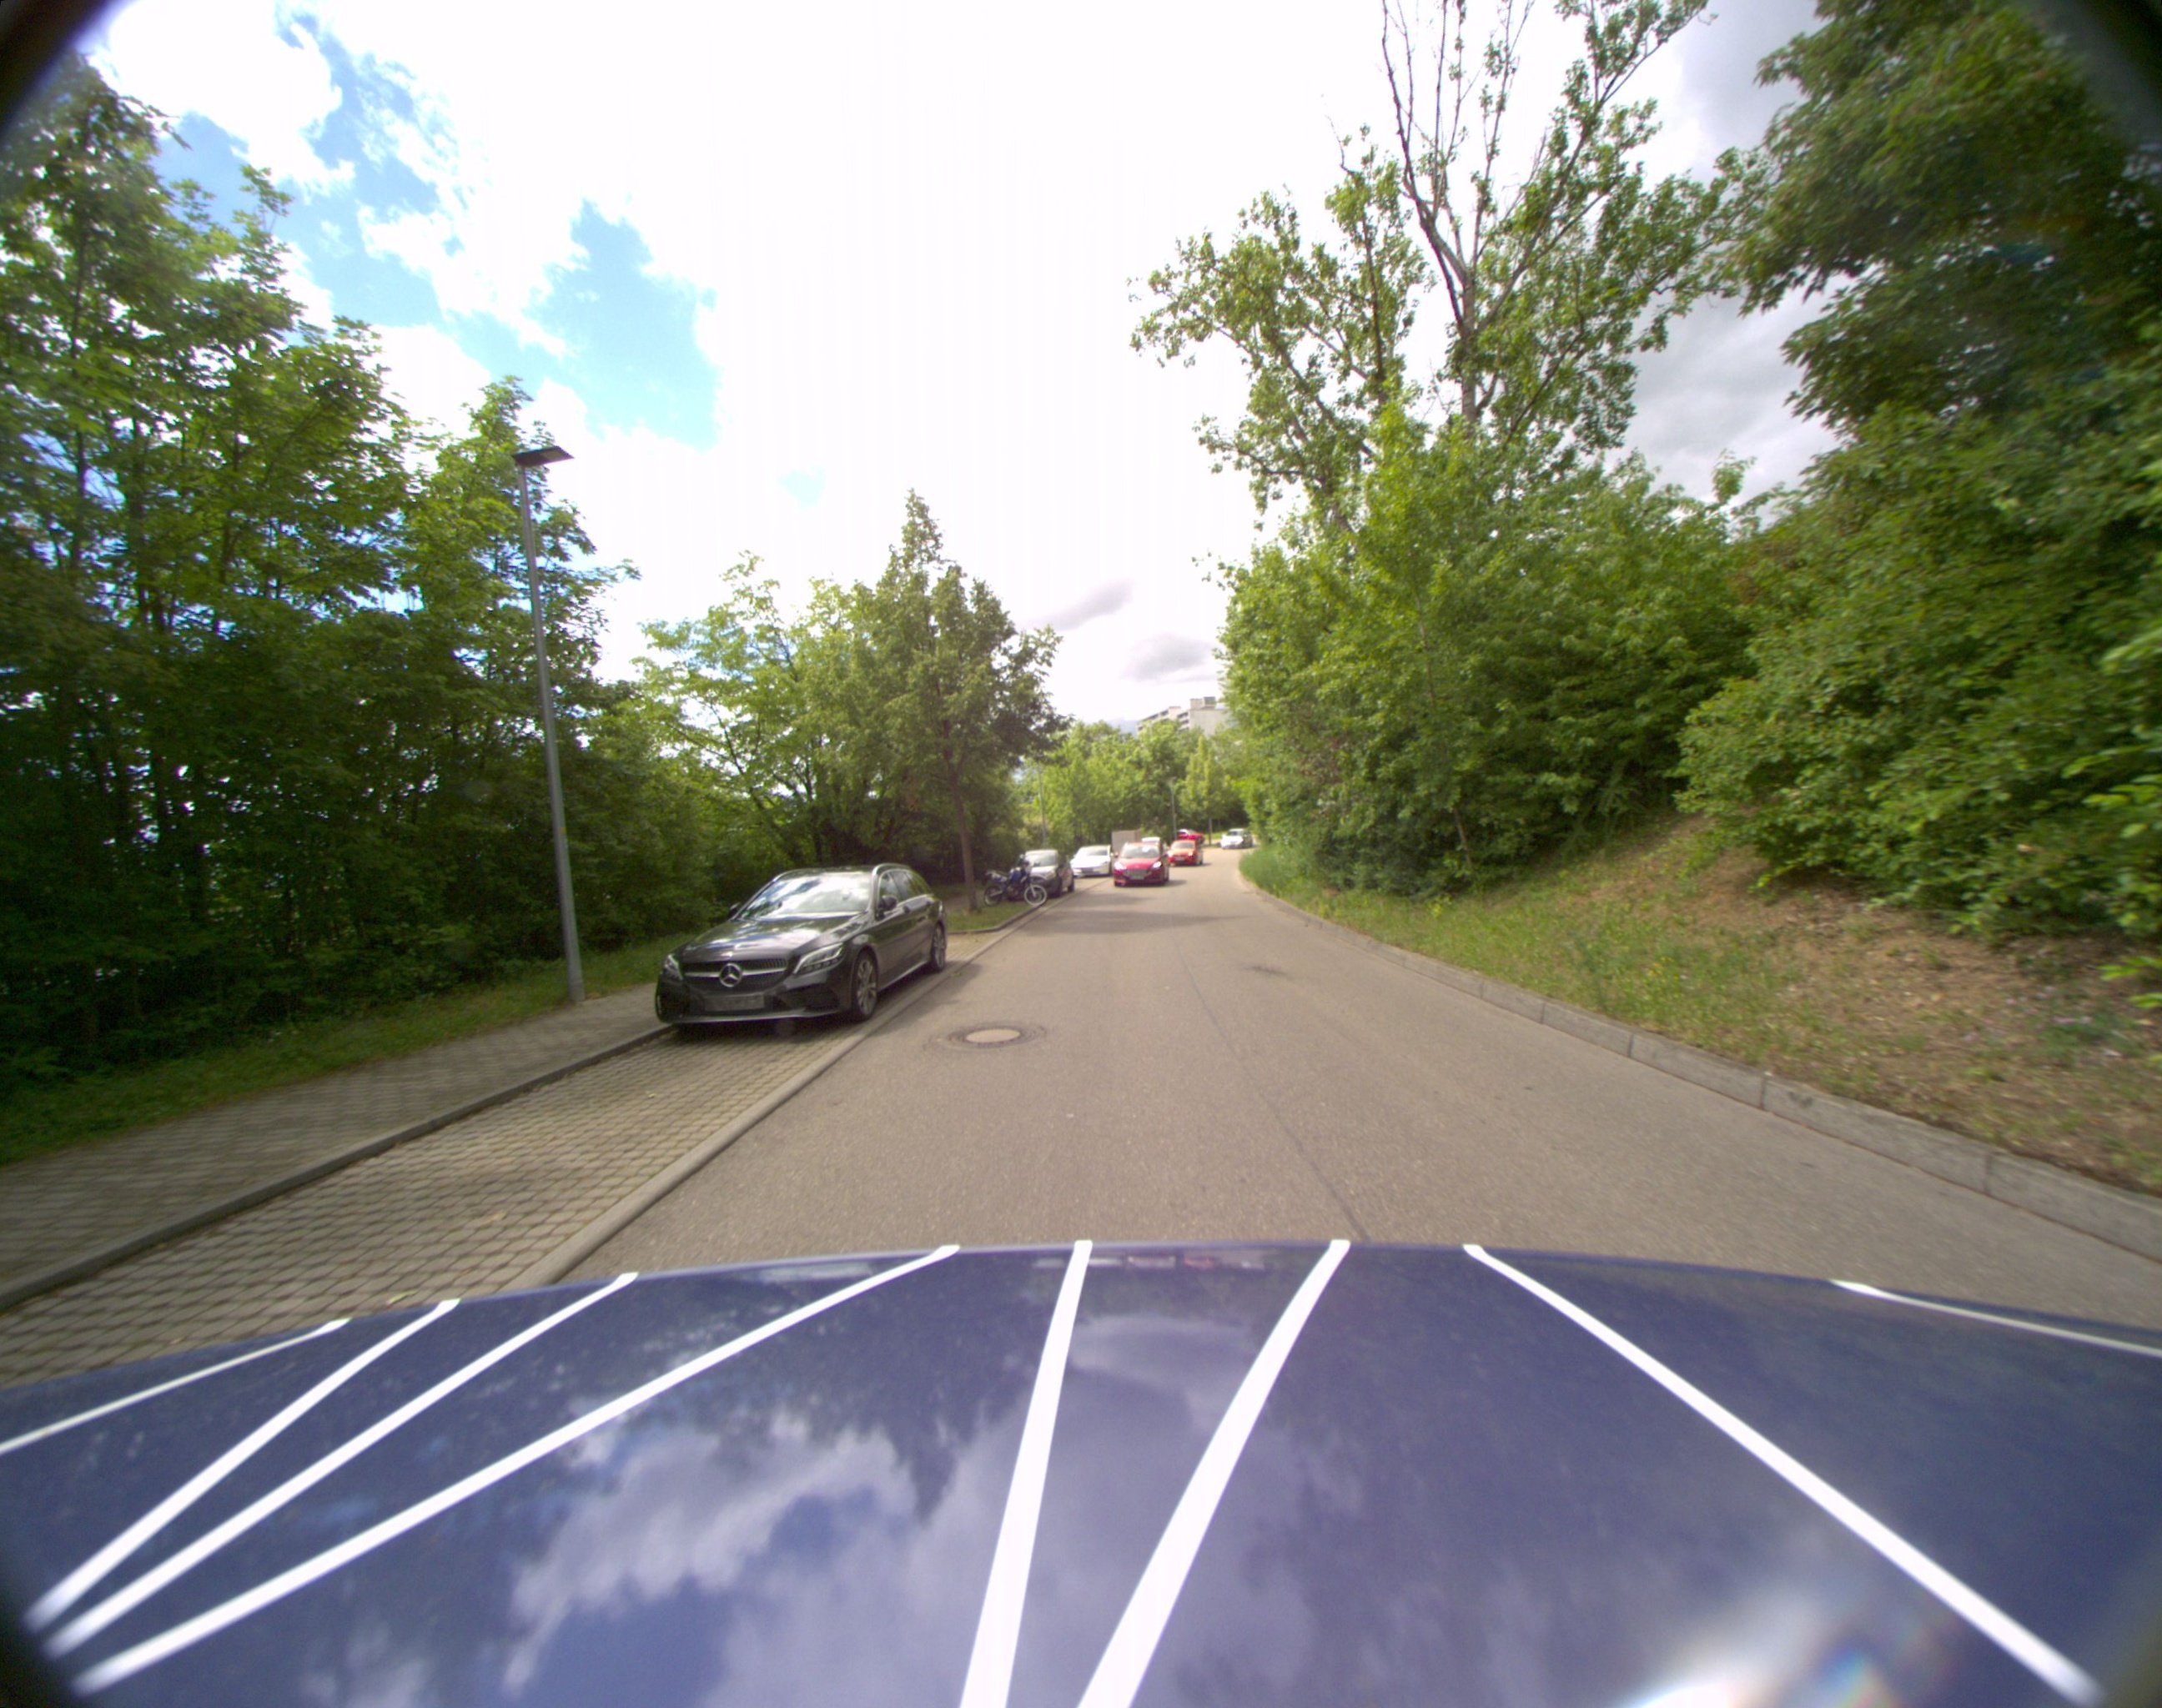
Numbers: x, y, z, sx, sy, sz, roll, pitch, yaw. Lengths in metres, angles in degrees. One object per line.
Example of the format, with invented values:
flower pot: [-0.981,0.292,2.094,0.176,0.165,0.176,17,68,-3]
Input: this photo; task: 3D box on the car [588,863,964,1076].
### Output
car: [-2.782,0.953,8.295,1.897,1.521,4.547,-4,0,4]

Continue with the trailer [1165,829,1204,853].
trailer: [8.128,-1.048,59.285,1.811,1.570,4.494,-1,3,23]

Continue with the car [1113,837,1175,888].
car: [2.526,0.274,29.450,1.910,1.689,4.388,-1,3,11]

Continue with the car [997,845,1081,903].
car: [-1.246,0.583,24.564,1.772,1.509,4.109,-3,2,10]

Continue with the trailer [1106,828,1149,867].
trailer: [2.787,-0.417,44.598,1.732,2.067,3.785,-1,3,14]

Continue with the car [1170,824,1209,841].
car: [10.834,-2.156,76.153,3.478,1.509,1.654,-1,5,43]

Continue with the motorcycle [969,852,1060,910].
motorcycle: [-1.835,0.725,20.846,2.306,1.467,0.977,-1,2,33]

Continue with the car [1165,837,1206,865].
car: [6.037,-0.207,43.437,1.794,1.405,4.116,-1,3,15]

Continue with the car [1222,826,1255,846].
car: [13.158,-1.509,63.343,1.793,1.500,4.118,-3,1,25]

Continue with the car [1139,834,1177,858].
car: [5.281,-0.560,51.869,1.708,1.469,3.786,-1,3,19]

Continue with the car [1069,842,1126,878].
car: [0.876,0.239,36.267,1.866,1.469,4.904,-2,2,11]
